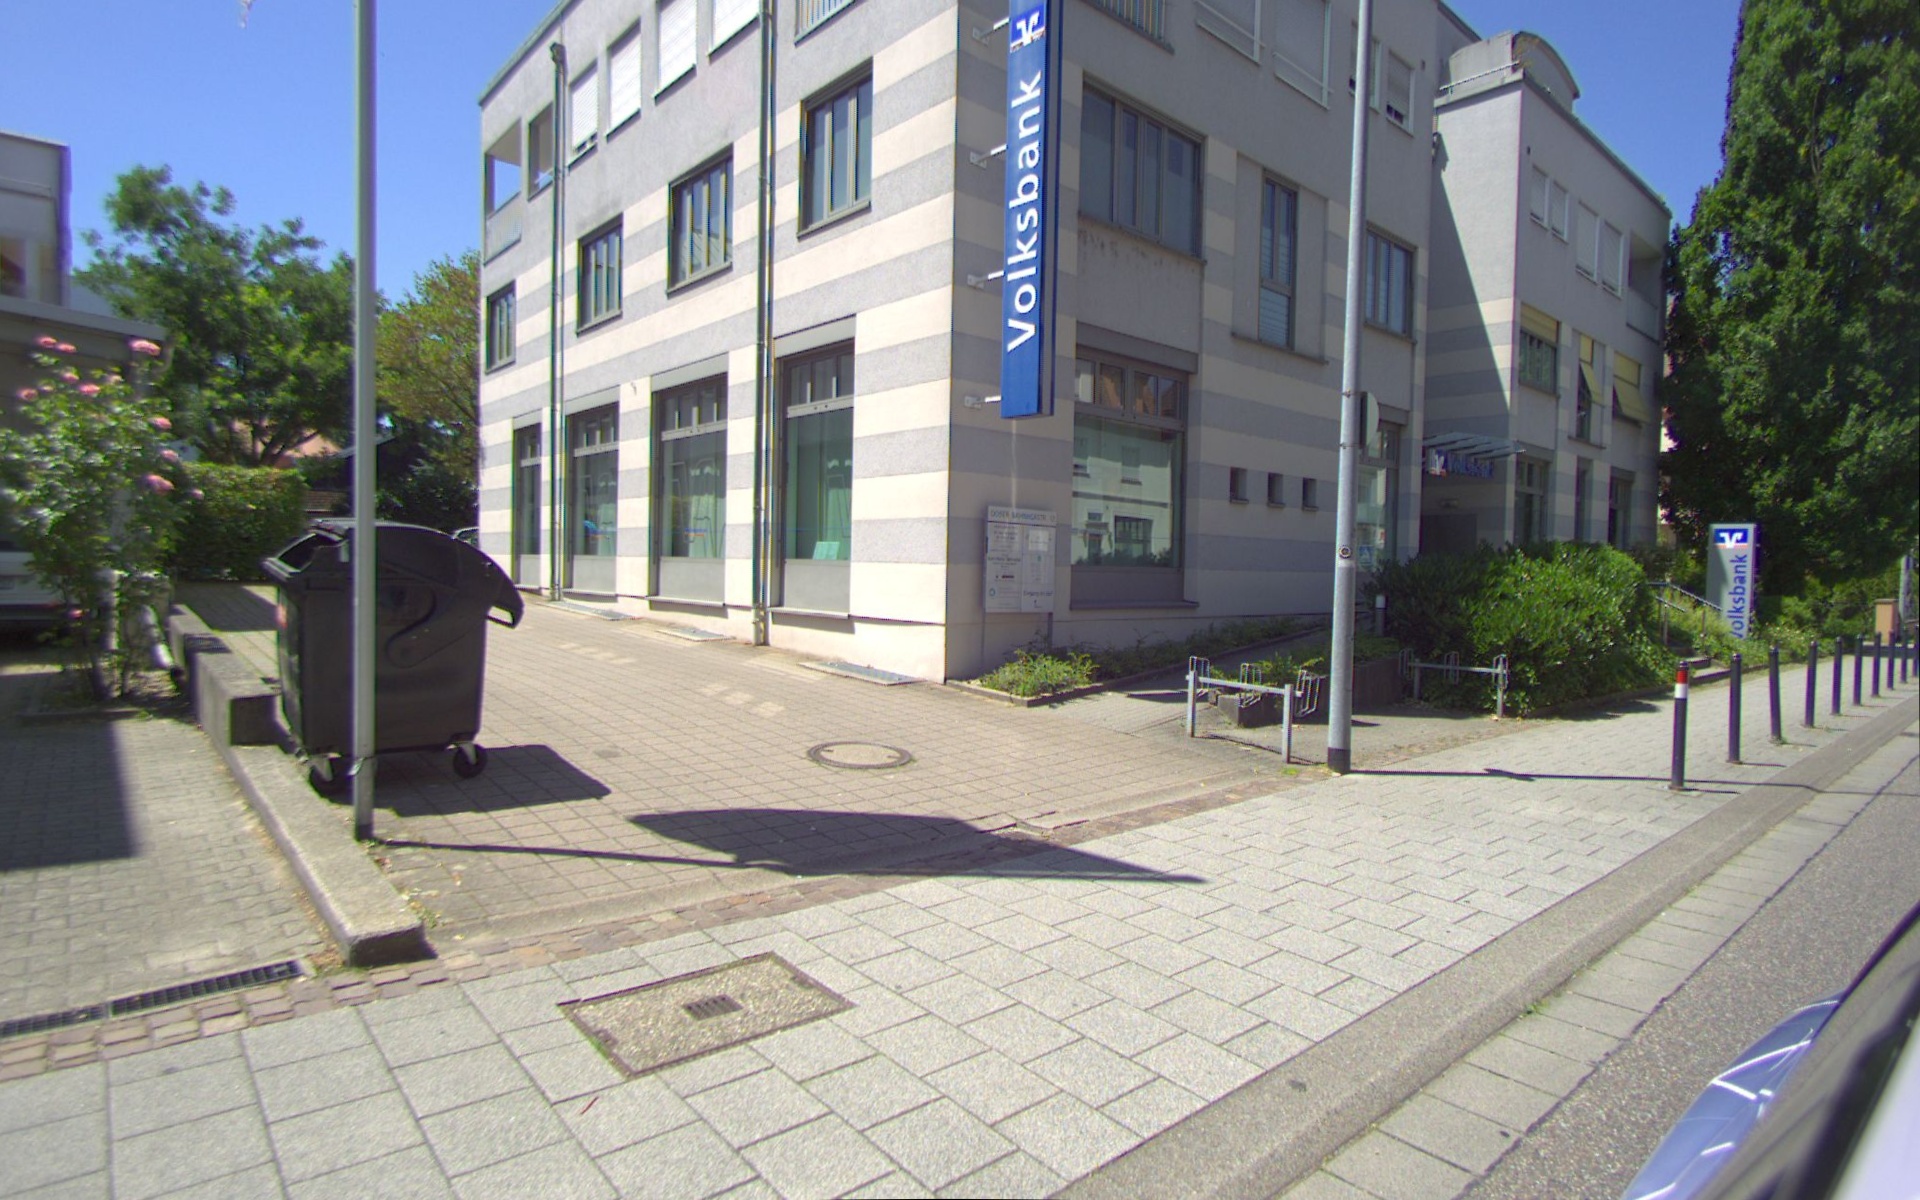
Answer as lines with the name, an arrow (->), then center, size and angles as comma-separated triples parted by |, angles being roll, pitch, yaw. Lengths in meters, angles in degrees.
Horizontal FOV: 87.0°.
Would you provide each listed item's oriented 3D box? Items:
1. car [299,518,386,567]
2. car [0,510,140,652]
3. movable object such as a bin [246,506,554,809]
car -> -21.801, -1.993, 35.865 | 1.764, 1.589, 4.046 | 1, 2, -19
car -> -12.174, -0.332, 13.213 | 1.775, 1.627, 4.005 | 0, 3, -32
movable object such as a bin -> -3.316, 0.235, 5.949 | 1.356, 1.476, 1.372 | 0, 5, -39
